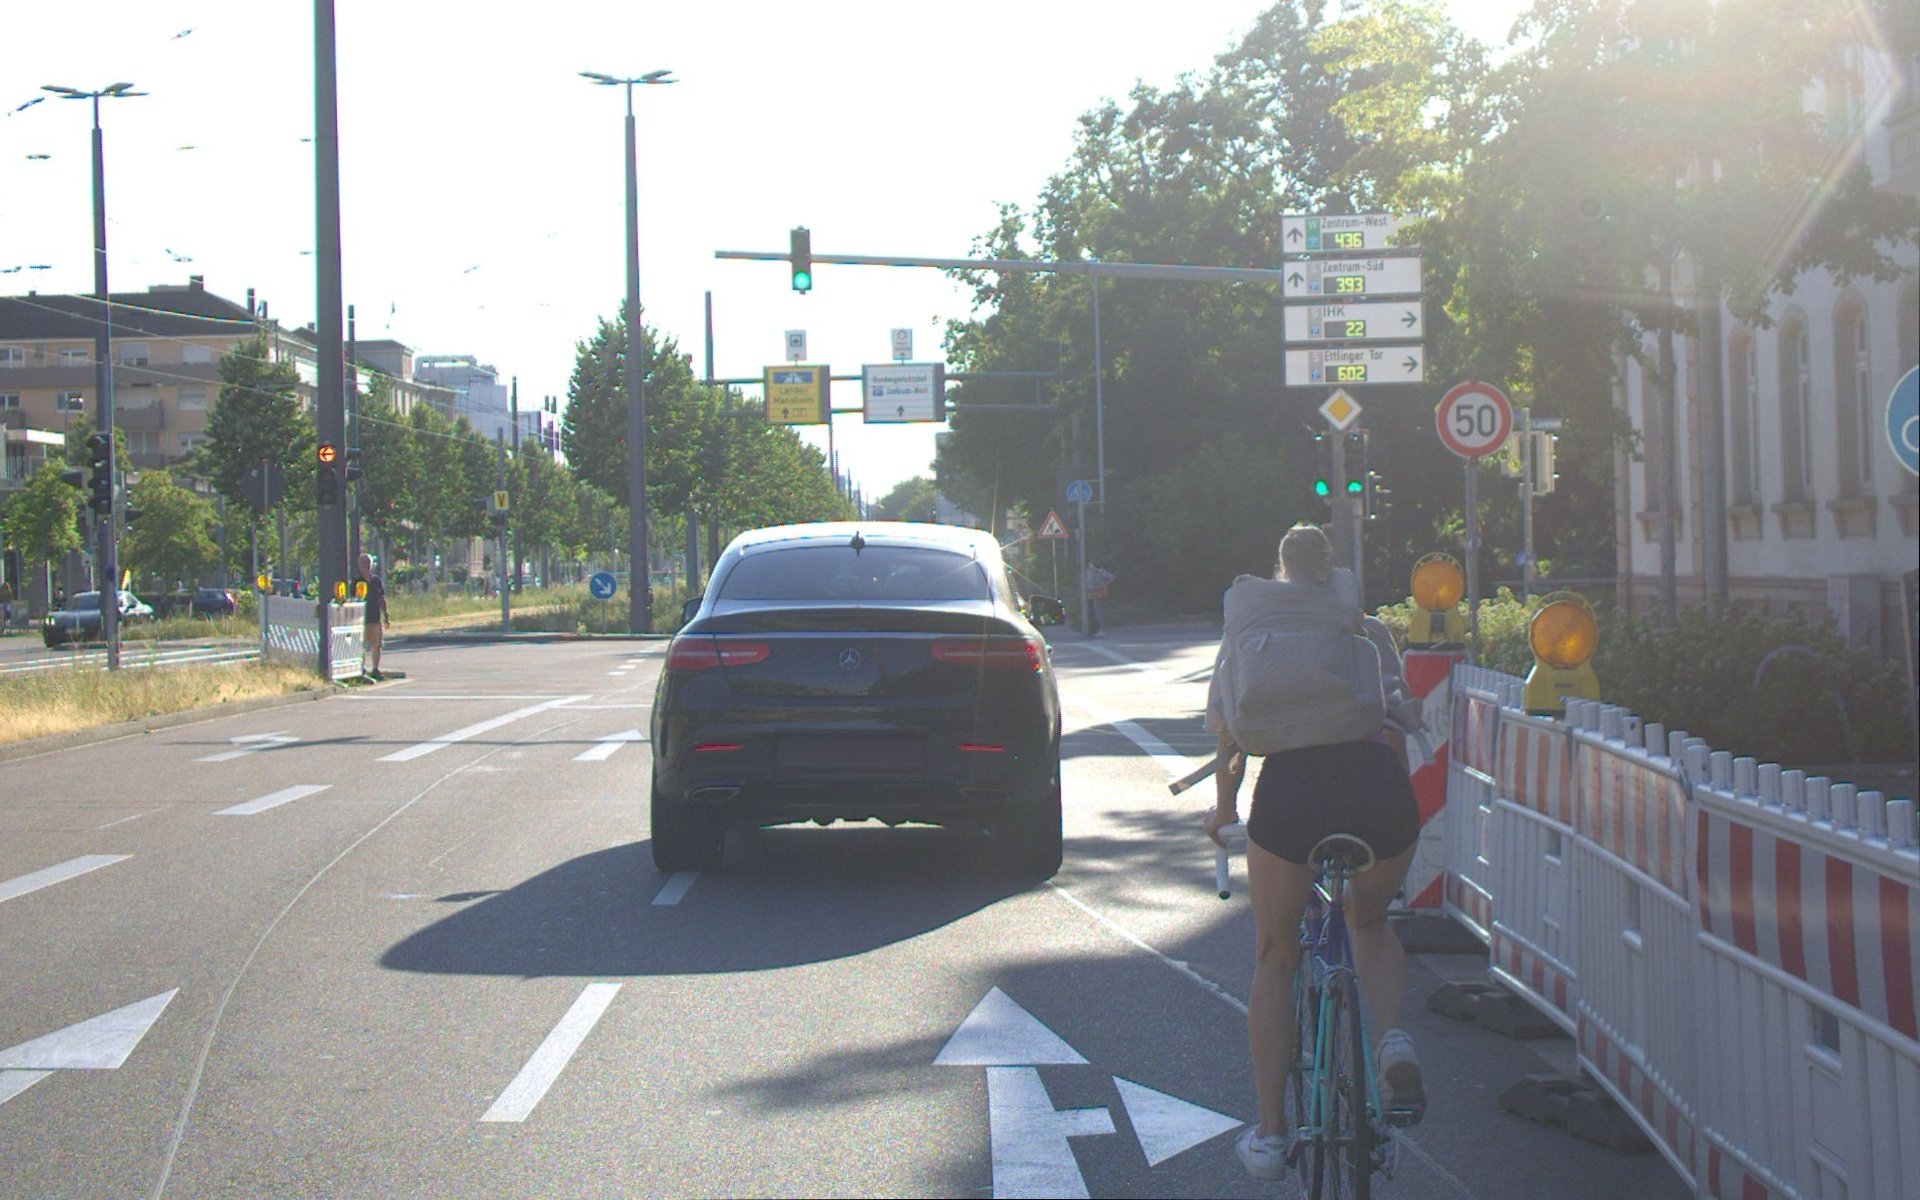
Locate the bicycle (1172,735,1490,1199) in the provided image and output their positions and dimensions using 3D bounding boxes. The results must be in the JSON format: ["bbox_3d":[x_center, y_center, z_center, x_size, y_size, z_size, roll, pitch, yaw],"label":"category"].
[{"bbox_3d":[0.753,0.893,7.346,0.520,1.093,1.843,-1,1,2],"label":"bicycle"}]

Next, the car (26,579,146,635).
[{"bbox_3d":[-22.423,0.166,88.400,1.891,1.339,4.851,-1,1,-1],"label":"car"}]

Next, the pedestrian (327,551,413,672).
[{"bbox_3d":[-8.102,0.153,47.240,0.924,1.643,0.765,-1,0,12],"label":"pedestrian"}]

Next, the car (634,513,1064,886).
[{"bbox_3d":[-0.473,0.419,17.945,1.993,1.728,4.000,0,1,1],"label":"car"}]

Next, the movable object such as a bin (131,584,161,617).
[{"bbox_3d":[-33.965,0.007,143.498,0.858,1.353,0.939,-1,0,14],"label":"movable object such as a bin"}]

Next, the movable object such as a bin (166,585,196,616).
[{"bbox_3d":[-32.579,0.010,143.817,0.858,1.276,0.939,-1,0,14],"label":"movable object such as a bin"}]

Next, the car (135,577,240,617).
[{"bbox_3d":[-33.489,-0.131,149.123,4.084,1.595,1.749,1,1,-41],"label":"car"}]

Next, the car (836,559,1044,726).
[{"bbox_3d":[-0.213,0.365,33.657,1.897,1.522,4.059,-1,1,-1],"label":"car"}]

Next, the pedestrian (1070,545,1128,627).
[{"bbox_3d":[3.130,-0.319,77.386,0.857,1.796,0.907,-3,1,-35],"label":"pedestrian"}]

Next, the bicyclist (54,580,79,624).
[{"bbox_3d":[-30.451,0.062,117.155,0.625,1.460,0.851,-1,0,0],"label":"bicyclist"}]

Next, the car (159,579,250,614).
[{"bbox_3d":[-33.544,-0.146,152.628,3.615,1.518,1.620,1,0,-41],"label":"car"}]

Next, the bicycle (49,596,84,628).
[{"bbox_3d":[-30.452,0.410,117.140,0.625,1.063,2.078,-1,1,0],"label":"bicycle"}]

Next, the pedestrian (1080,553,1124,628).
[{"bbox_3d":[3.157,-0.216,76.470,0.766,1.631,0.770,-3,1,-9],"label":"pedestrian"}]

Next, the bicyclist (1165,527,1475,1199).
[{"bbox_3d":[0.755,0.591,7.428,0.552,1.486,1.081,-1,1,1],"label":"bicyclist"}]

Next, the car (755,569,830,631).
[{"bbox_3d":[-4.479,-0.015,92.239,1.885,1.575,4.000,0,1,-1],"label":"car"}]

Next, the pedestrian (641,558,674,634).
[{"bbox_3d":[-6.853,-0.098,77.803,0.598,1.693,0.714,-1,0,5],"label":"pedestrian"}]
